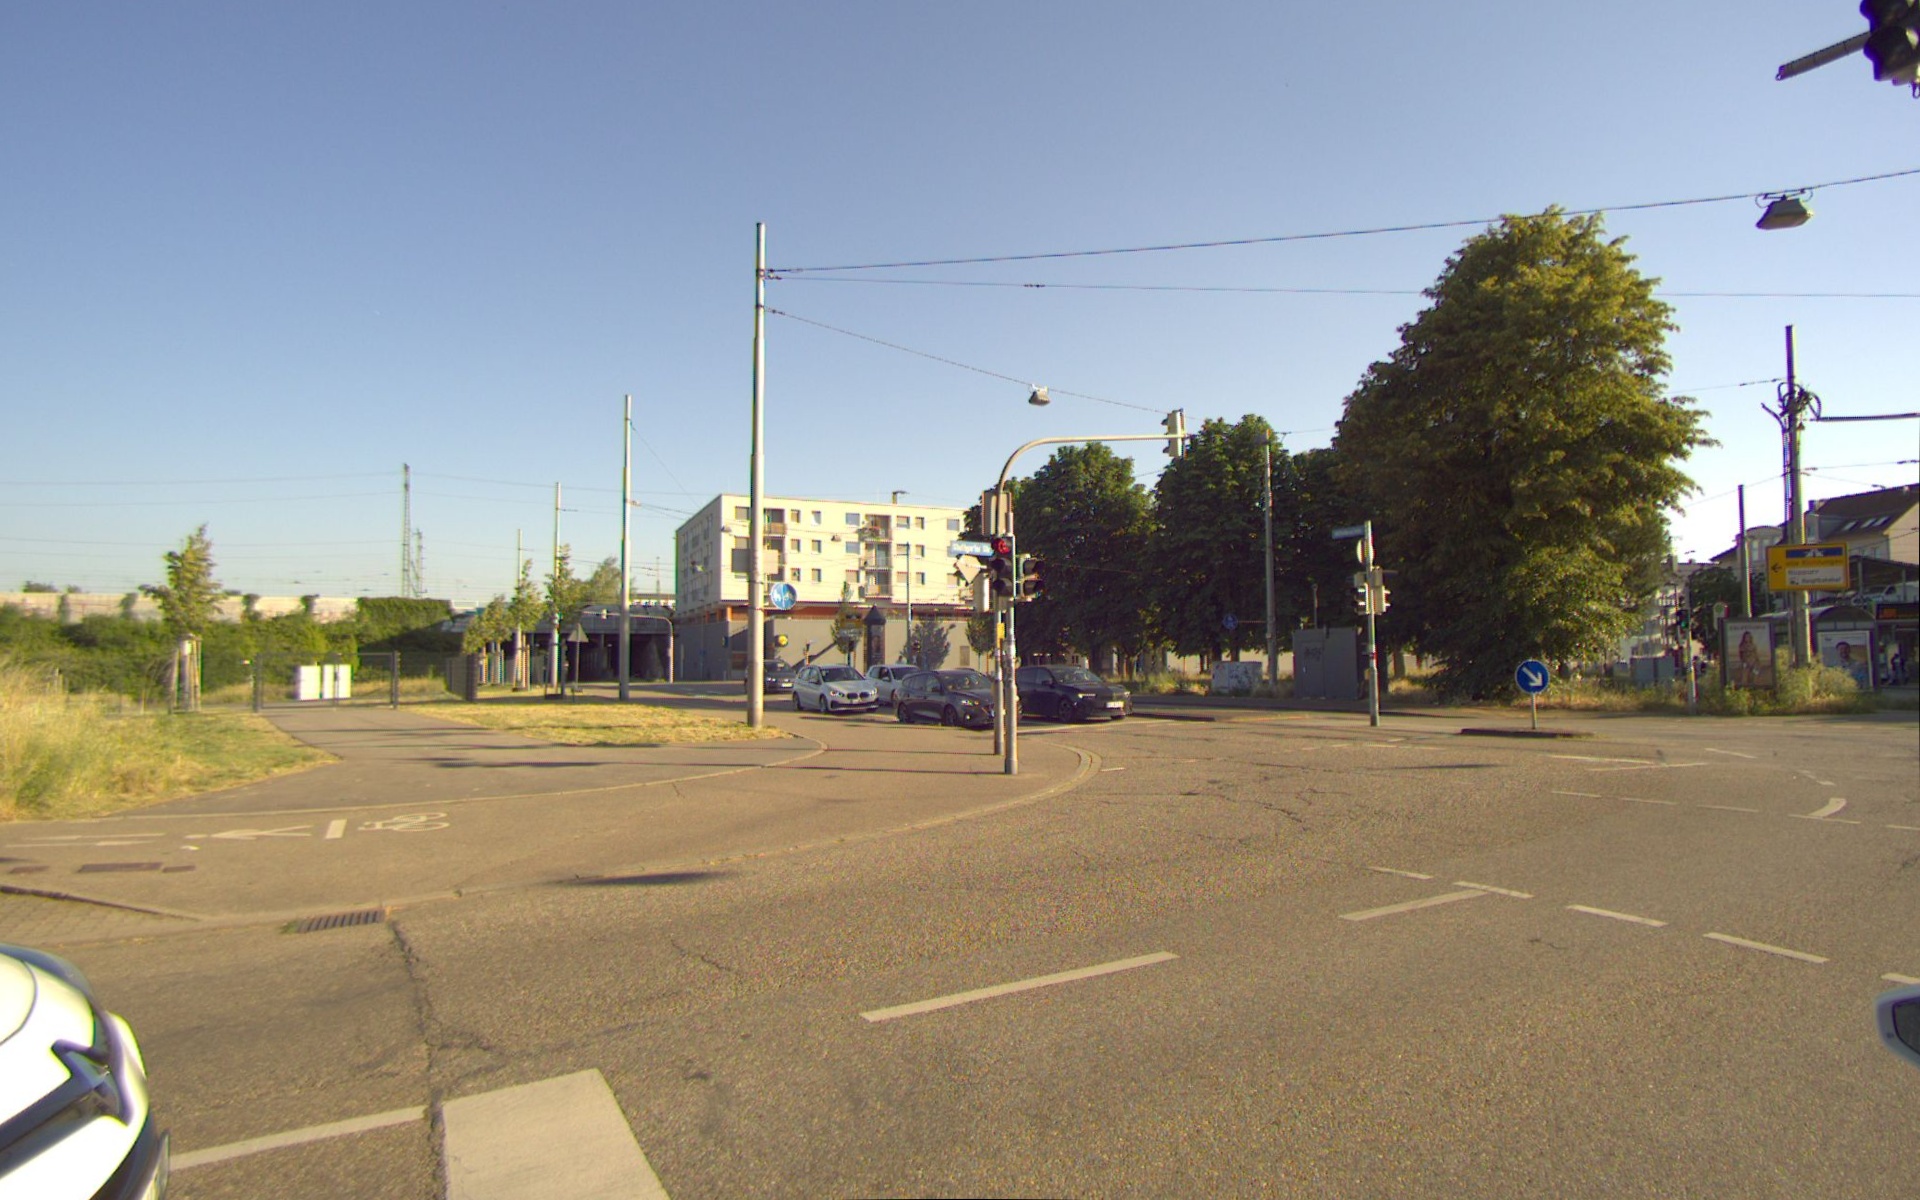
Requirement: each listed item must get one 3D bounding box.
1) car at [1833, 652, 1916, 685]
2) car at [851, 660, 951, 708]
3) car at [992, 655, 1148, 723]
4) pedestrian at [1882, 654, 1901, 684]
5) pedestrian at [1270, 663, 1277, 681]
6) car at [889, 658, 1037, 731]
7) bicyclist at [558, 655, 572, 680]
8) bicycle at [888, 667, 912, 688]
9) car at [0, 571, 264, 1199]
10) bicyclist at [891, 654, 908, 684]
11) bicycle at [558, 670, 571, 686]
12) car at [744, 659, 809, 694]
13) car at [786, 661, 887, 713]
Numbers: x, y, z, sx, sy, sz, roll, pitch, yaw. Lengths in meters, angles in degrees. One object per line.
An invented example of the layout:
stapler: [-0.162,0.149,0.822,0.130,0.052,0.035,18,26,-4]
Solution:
car: [59.360,4.433,65.338,2.017,1.987,5.153,-4,-4,19]
car: [-2.183,2.954,36.011,1.975,1.587,4.426,1,-4,-27]
car: [2.774,2.276,26.408,2.027,1.587,4.423,1,-4,-26]
pedestrian: [47.960,3.545,51.716,0.558,1.520,0.677,-2,-4,32]
pedestrian: [26.768,6.181,85.769,0.398,1.527,0.372,-2,-4,33]
car: [-0.033,2.316,25.362,1.975,1.587,4.246,-1,-3,-28]
bicyclist: [-26.823,4.590,68.233,0.865,1.646,0.968,1,-3,-20]
bicycle: [-3.381,4.367,56.519,0.690,1.157,2.191,1,-4,-21]
car: [-3.061,0.712,1.009,3.733,1.488,1.692,2,-4,-32]
bicyclist: [-3.423,3.888,56.613,0.703,1.650,1.037,1,-3,-20]
bicycle: [-26.818,5.290,68.132,0.743,1.107,1.941,2,-5,-19]
car: [-9.044,3.729,49.237,1.975,1.587,4.426,1,-4,-27]
car: [-4.170,2.853,33.381,1.975,1.587,4.246,1,-4,-27]
